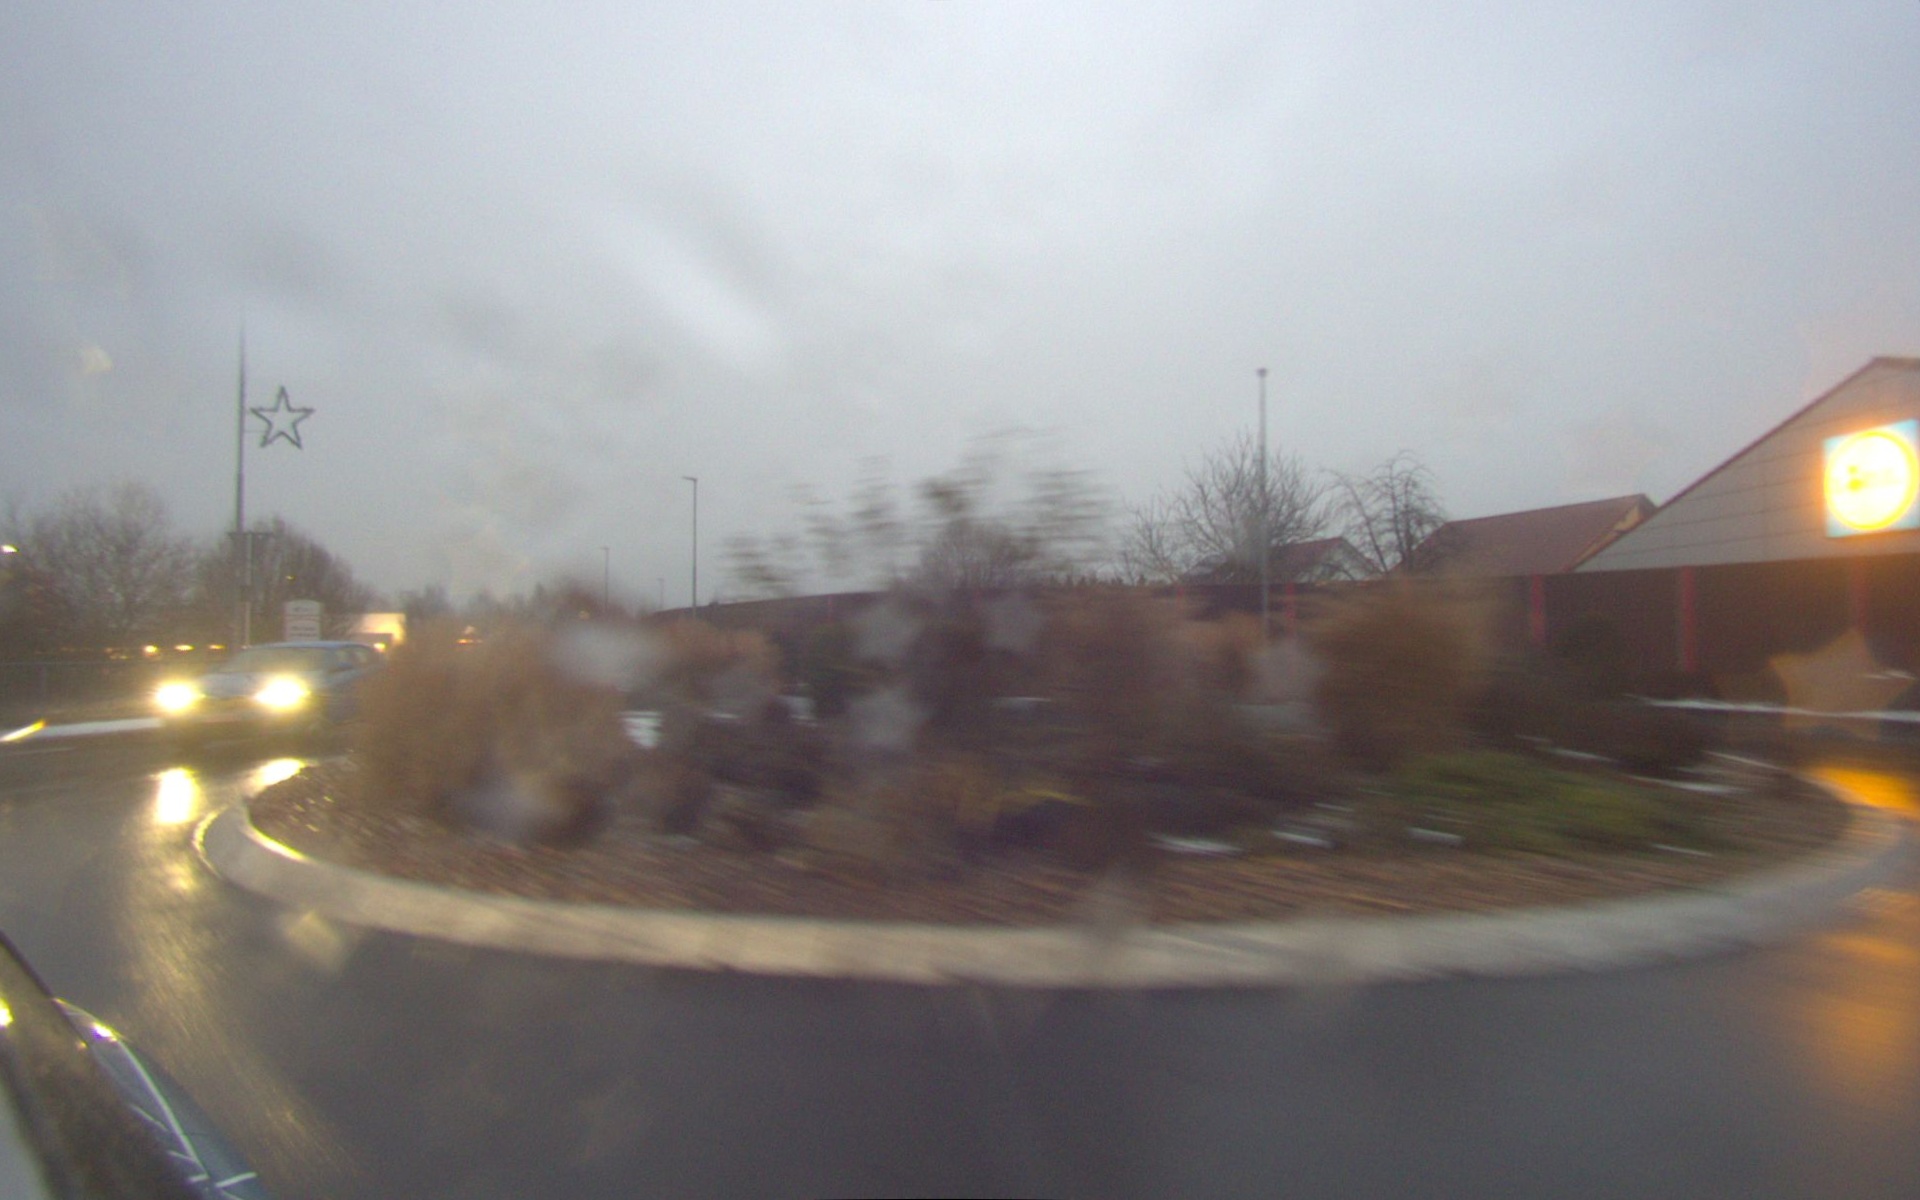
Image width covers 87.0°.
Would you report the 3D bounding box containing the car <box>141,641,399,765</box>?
[{"bbox_3d":[-10.320,1.443,15.562,1.781,1.472,4.256,-1,0,-12],"label":"car"}]
